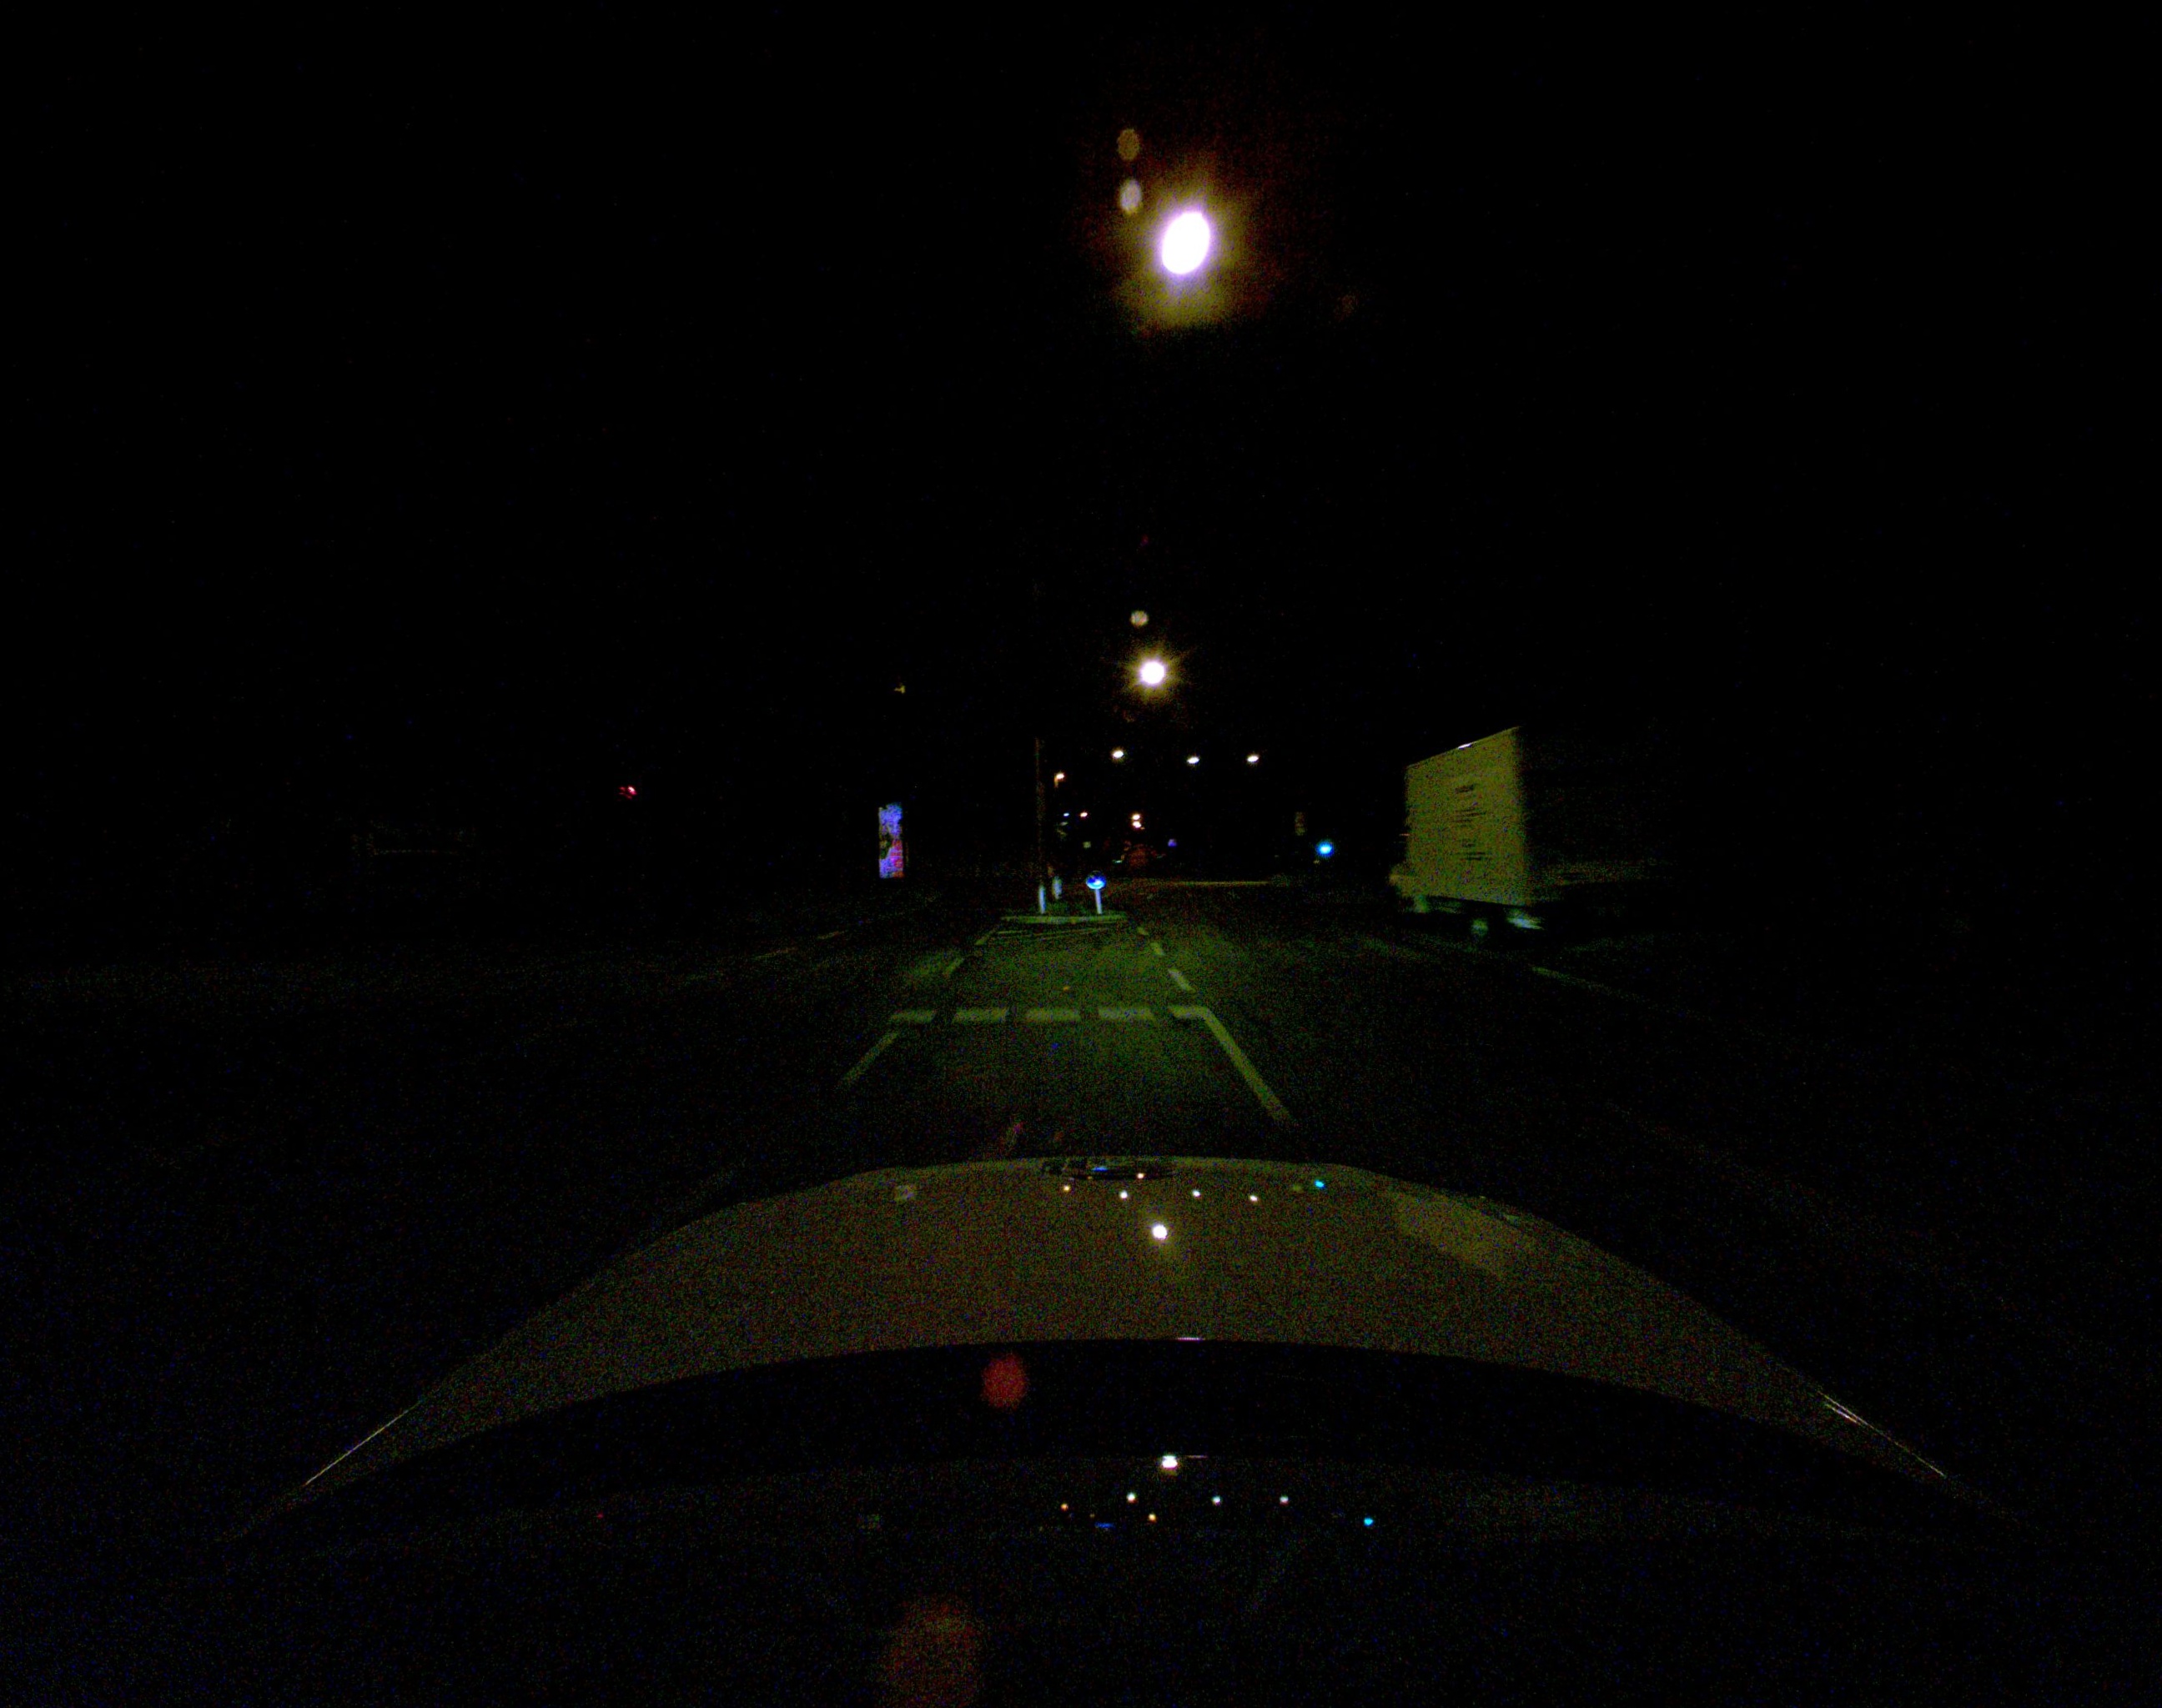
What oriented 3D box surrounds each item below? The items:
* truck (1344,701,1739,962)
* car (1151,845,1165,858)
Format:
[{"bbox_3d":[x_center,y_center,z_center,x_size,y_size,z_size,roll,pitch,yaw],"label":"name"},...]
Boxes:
[{"bbox_3d":[6.790,-0.262,13.546,2.752,3.044,7.042,-4,0,3],"label":"truck"},{"bbox_3d":[11.568,-0.391,122.028,1.985,1.769,4.004,-1,0,4],"label":"car"}]
